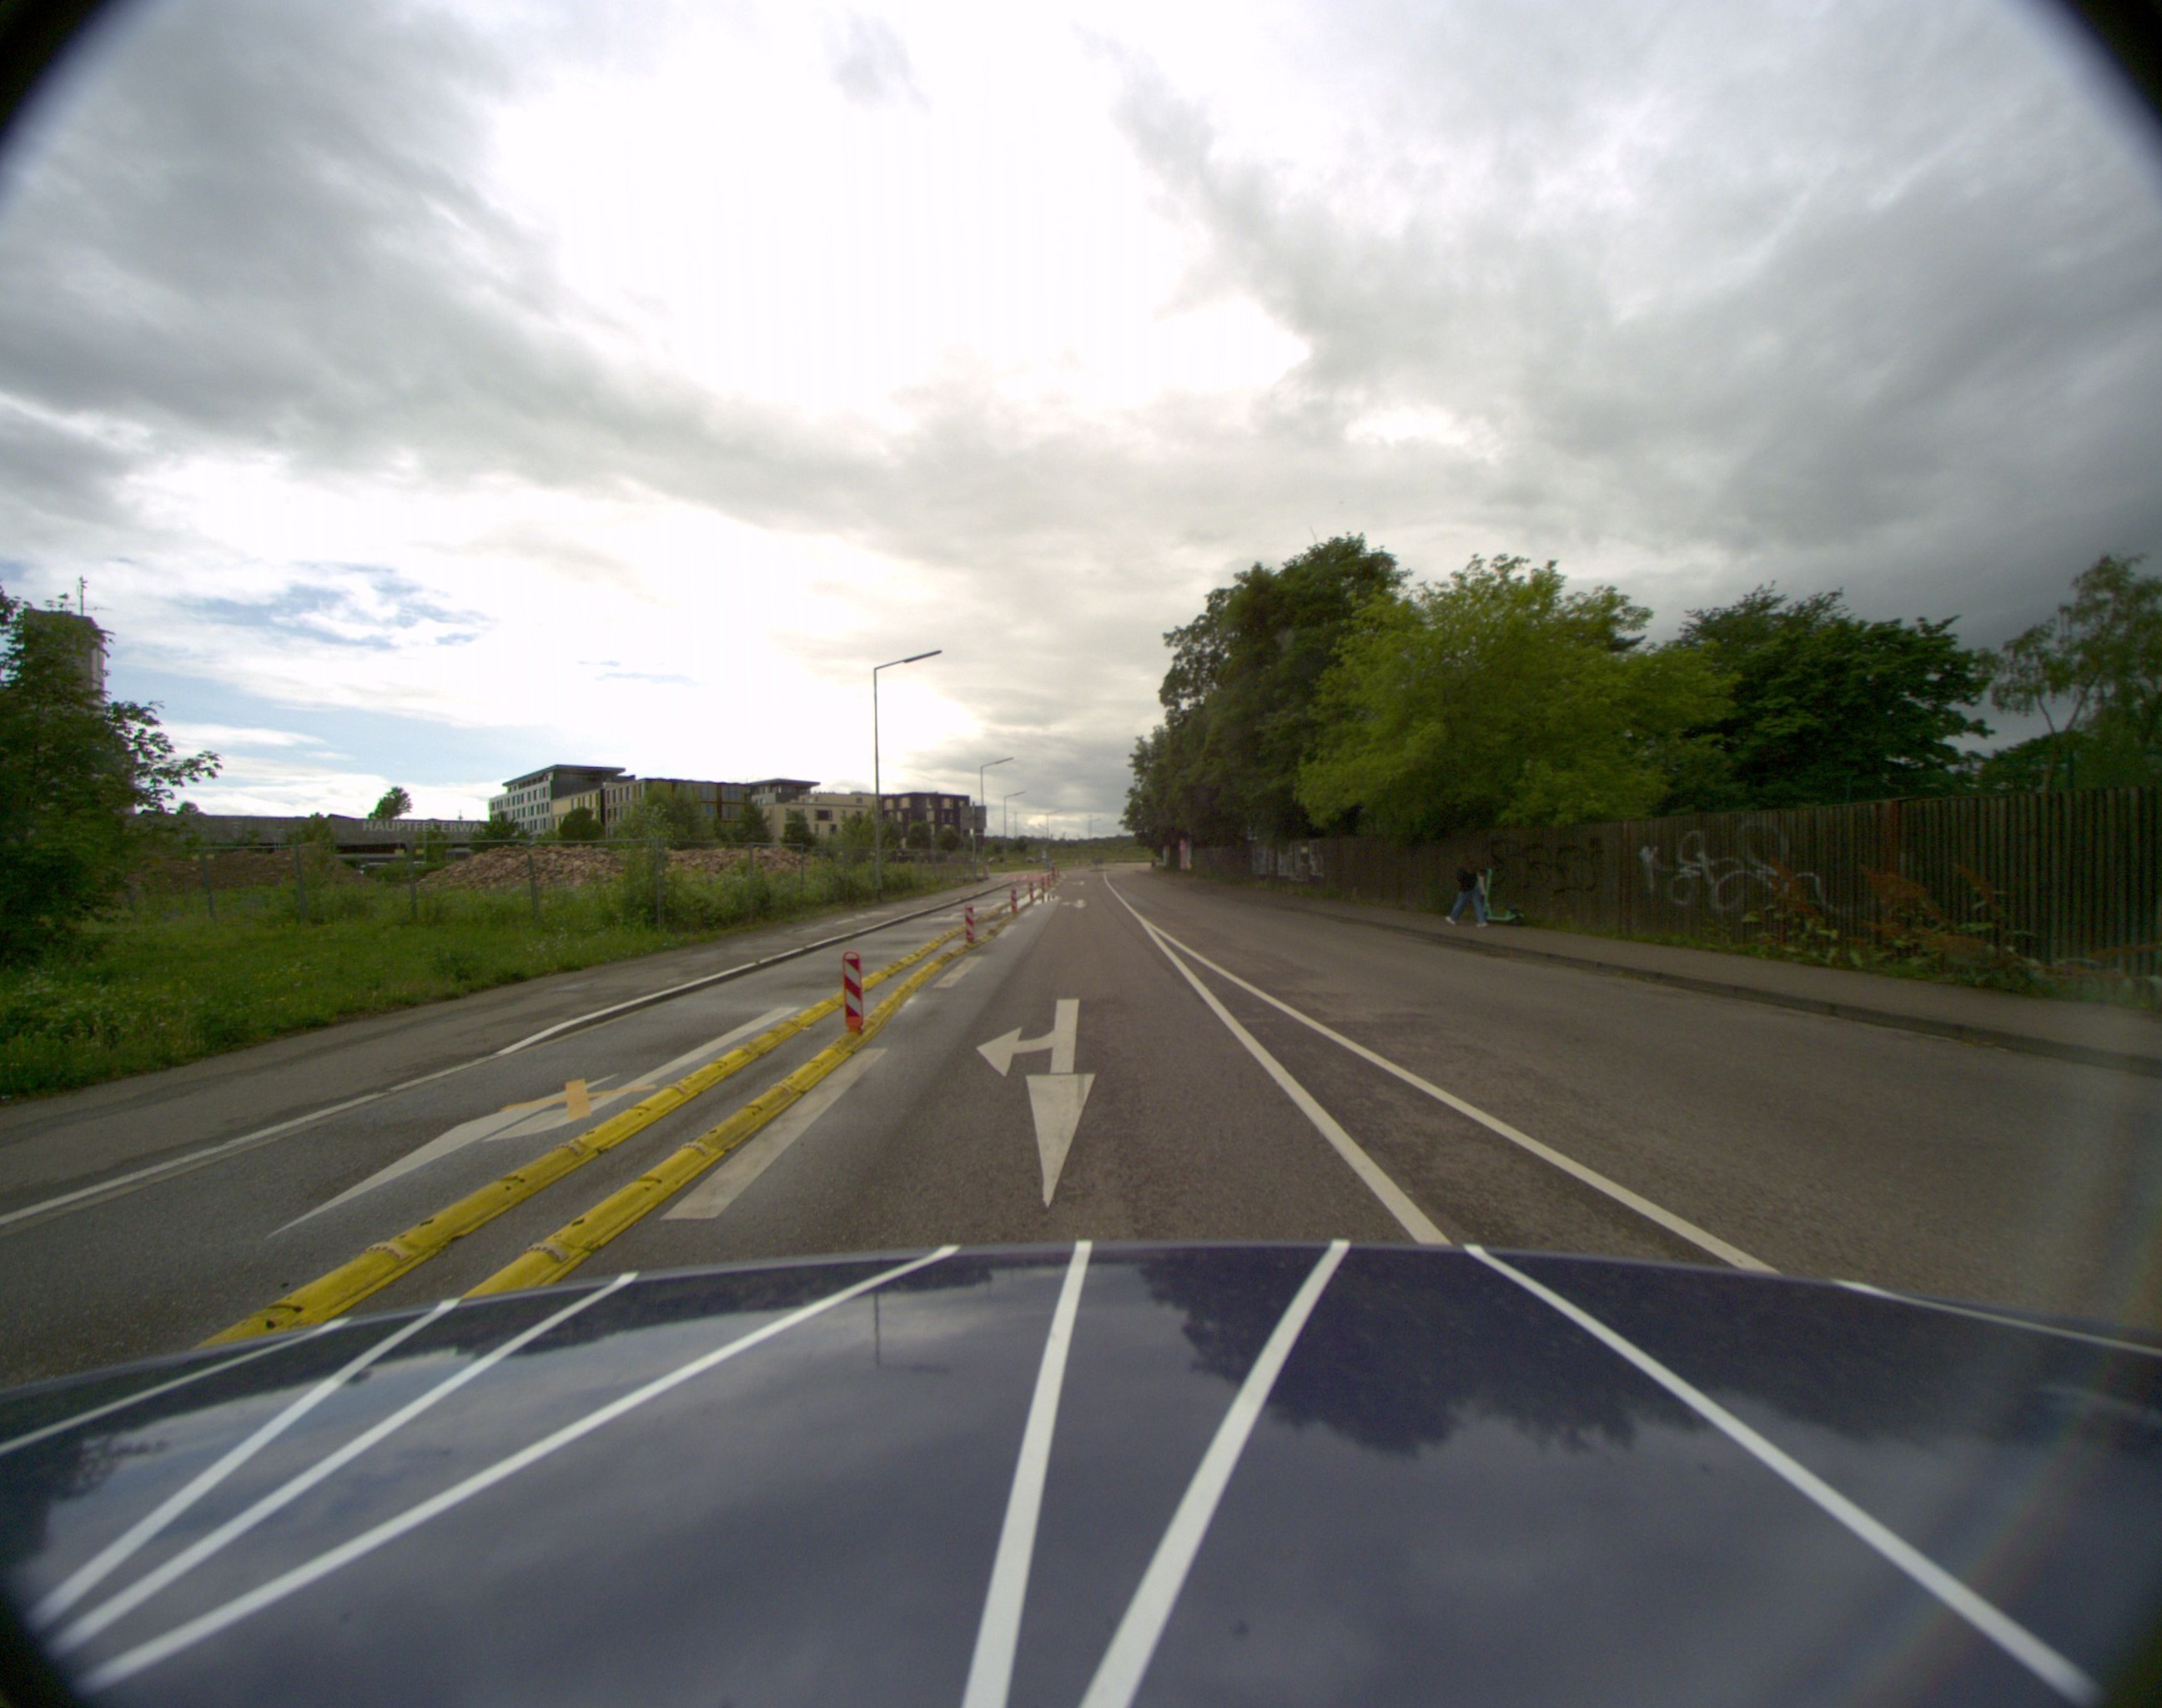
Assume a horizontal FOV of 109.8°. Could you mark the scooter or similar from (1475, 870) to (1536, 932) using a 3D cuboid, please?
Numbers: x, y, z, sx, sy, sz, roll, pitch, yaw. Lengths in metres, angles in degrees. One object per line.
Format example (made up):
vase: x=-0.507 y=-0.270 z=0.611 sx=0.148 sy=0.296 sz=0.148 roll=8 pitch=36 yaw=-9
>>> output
scooter or similar: x=8.616 y=0.926 z=15.451 sx=0.424 sy=1.164 sz=1.303 roll=-1 pitch=0 yaw=-5

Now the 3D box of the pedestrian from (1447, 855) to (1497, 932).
pedestrian: x=7.953 y=0.782 z=15.475 sx=0.614 sy=1.520 sz=0.724 roll=-1 pitch=1 yaw=-4

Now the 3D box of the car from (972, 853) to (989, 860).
car: x=-25.852 y=0.633 z=194.887 sx=1.994 sy=2.002 sz=4.008 roll=0 pitch=0 yaw=42

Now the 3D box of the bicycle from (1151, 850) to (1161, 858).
bicycle: x=9.192 y=-0.026 z=93.221 sx=0.582 sy=0.992 sz=1.773 roll=-3 pitch=0 yaw=28

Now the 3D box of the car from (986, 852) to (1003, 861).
car: x=-21.555 y=0.639 z=189.055 sx=1.994 sy=2.002 sz=4.008 roll=0 pitch=0 yaw=42
